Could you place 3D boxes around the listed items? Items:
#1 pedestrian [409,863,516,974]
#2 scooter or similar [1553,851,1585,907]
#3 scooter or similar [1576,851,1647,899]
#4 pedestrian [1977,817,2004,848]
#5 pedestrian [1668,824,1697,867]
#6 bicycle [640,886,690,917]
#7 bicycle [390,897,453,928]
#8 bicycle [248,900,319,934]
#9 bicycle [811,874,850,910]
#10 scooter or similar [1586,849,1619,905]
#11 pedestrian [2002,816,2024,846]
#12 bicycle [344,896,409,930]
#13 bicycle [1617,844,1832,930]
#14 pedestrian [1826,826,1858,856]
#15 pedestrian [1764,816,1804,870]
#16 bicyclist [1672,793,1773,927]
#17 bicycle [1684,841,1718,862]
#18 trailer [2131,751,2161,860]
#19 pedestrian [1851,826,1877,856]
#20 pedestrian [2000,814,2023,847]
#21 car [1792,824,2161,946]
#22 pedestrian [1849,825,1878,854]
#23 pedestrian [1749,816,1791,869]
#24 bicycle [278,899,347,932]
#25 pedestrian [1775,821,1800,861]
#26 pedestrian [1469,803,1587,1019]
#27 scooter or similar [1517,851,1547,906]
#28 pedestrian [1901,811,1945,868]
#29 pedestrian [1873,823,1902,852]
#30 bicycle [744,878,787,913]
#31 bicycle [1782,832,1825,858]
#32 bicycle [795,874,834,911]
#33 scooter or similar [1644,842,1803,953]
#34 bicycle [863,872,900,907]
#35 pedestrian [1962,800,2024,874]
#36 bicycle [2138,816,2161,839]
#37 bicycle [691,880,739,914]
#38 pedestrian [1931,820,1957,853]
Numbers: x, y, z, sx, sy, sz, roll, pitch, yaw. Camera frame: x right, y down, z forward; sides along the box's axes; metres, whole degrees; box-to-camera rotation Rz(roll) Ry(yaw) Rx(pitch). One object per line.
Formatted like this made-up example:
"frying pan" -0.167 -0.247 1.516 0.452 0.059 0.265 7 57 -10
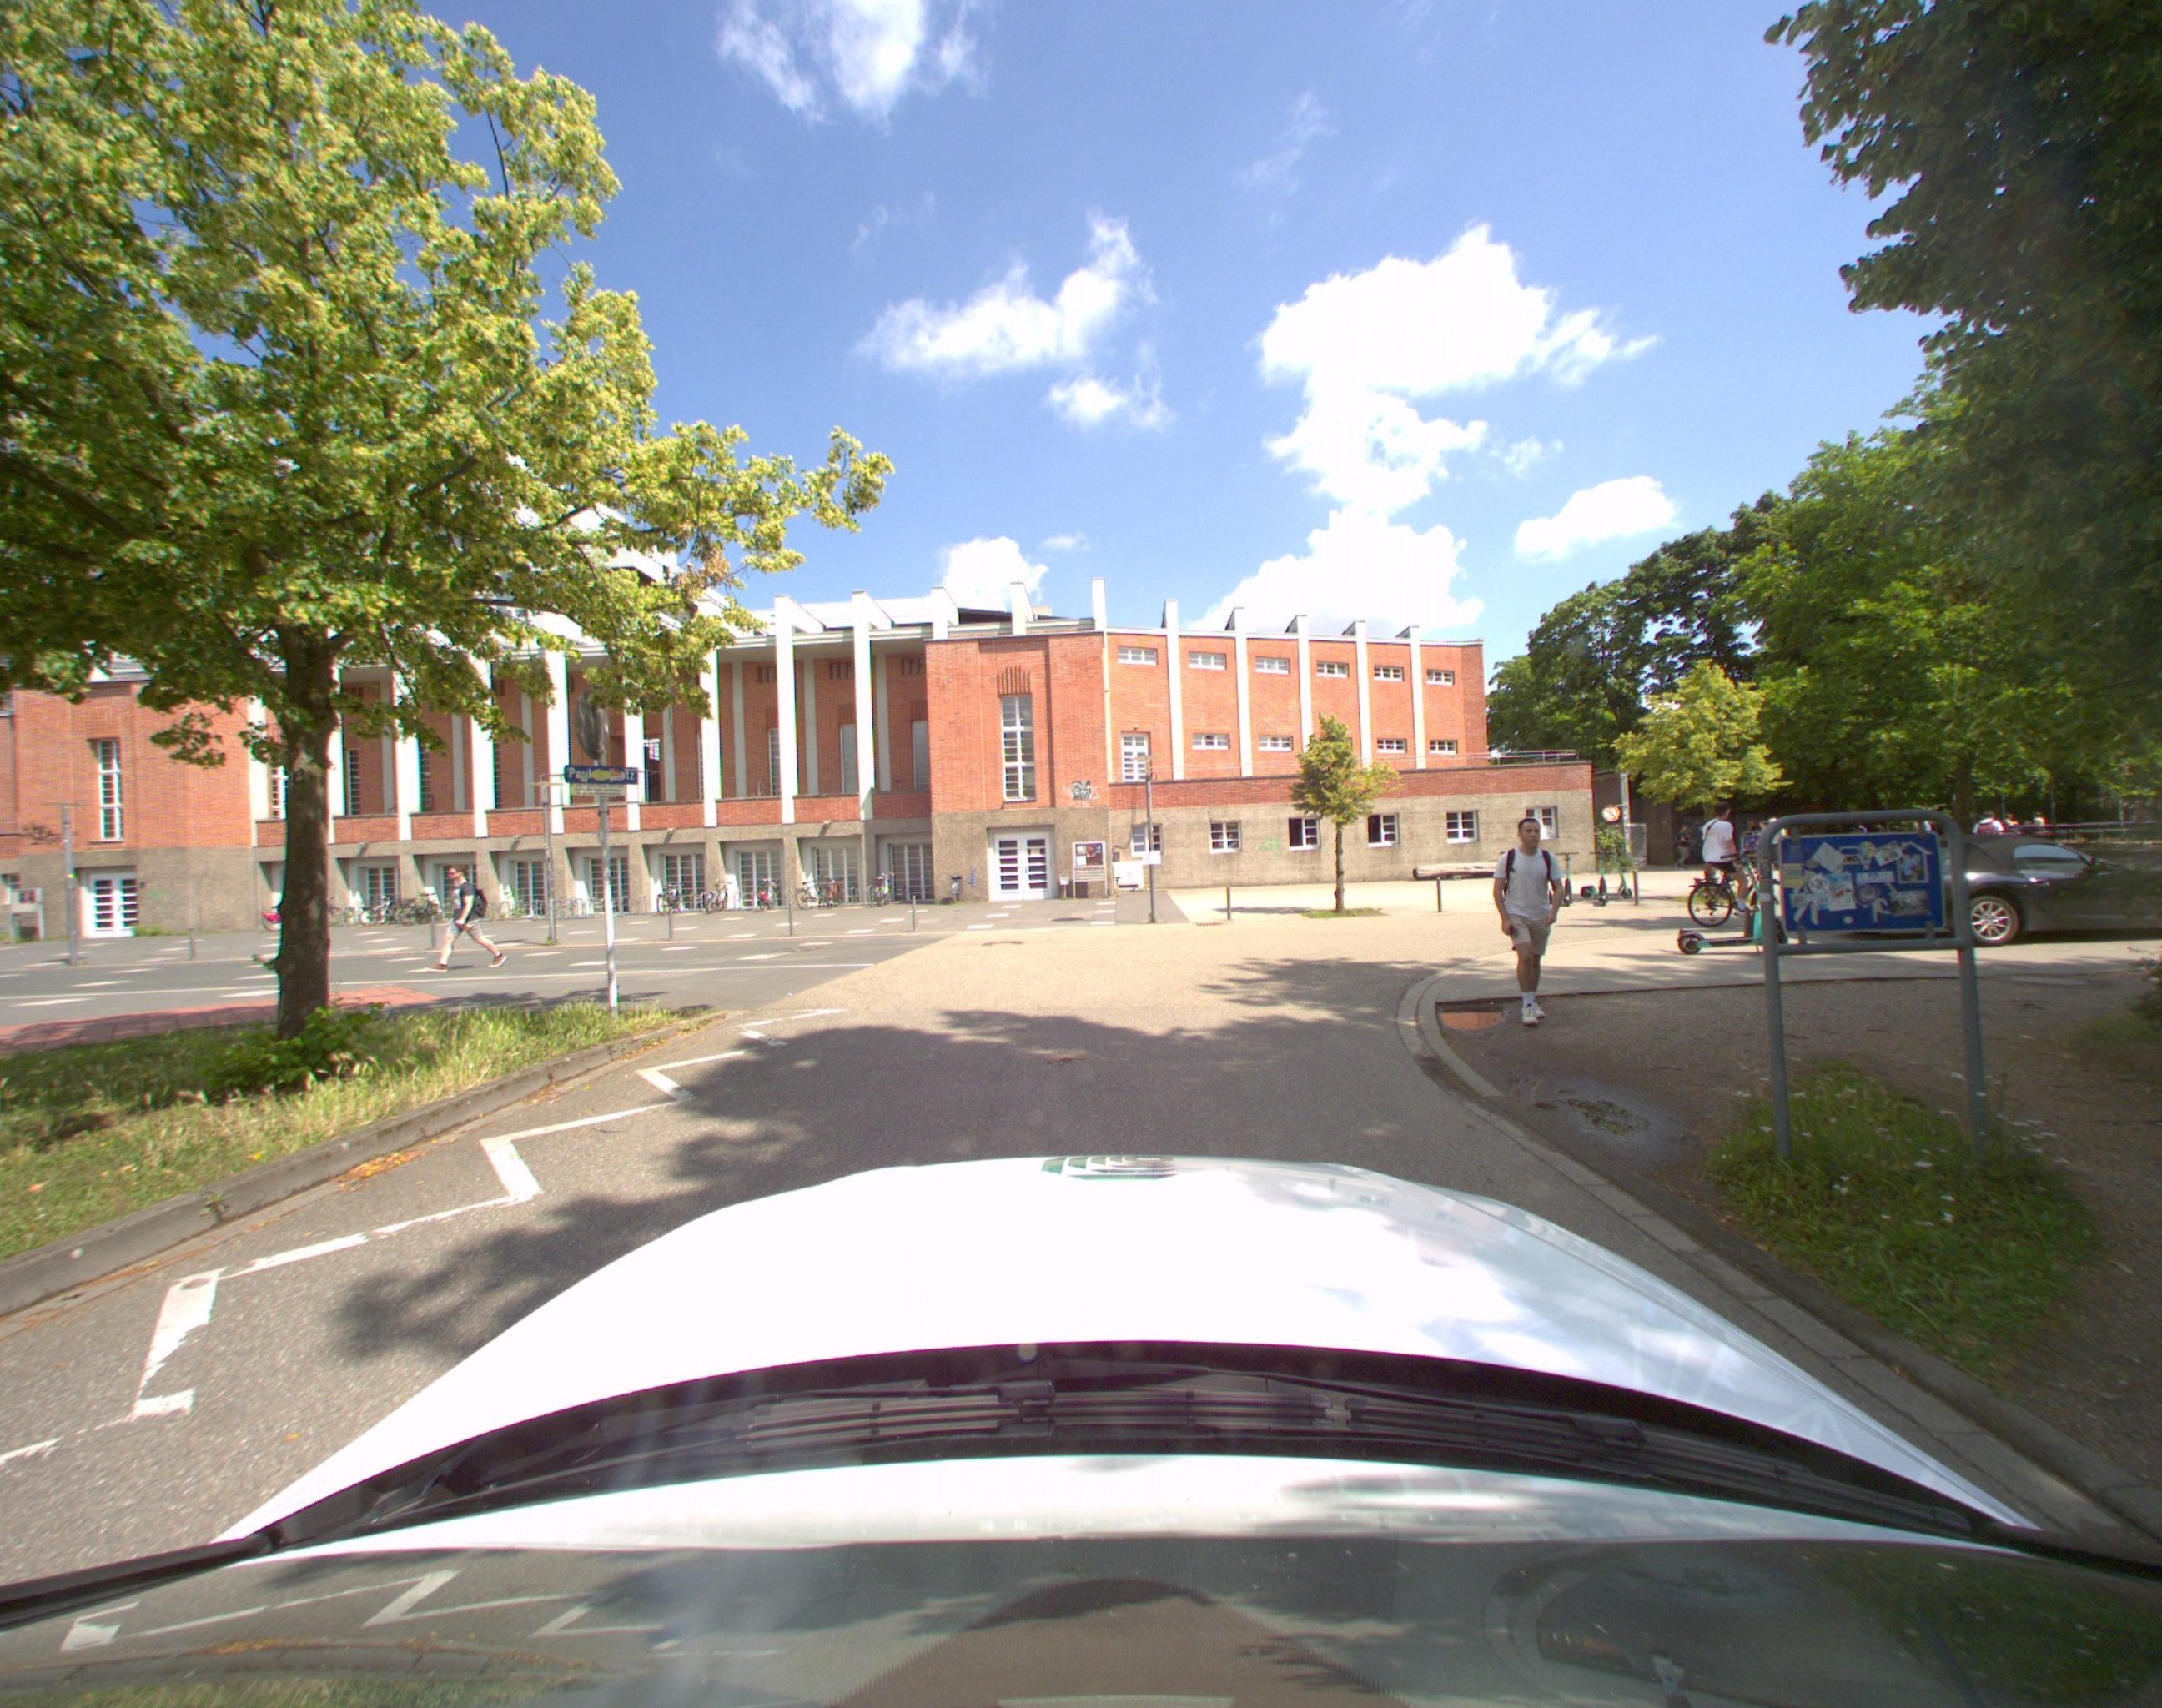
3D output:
"pedestrian" -10.630 1.083 14.015 1.008 1.800 1.179 -5 -3 33
"scooter or similar" 11.389 0.571 19.046 0.558 1.225 1.585 -2 0 29
"scooter or similar" 13.182 0.515 20.273 1.335 1.149 0.567 -2 0 14
"pedestrian" 37.930 -0.881 33.958 0.745 1.233 0.589 -5 1 -32
"pedestrian" 24.236 -0.331 32.842 0.869 1.720 0.492 -1 -1 30
"bicycle" -14.599 1.651 28.658 0.680 0.960 1.957 -2 0 2
"bicycle" -23.648 2.077 29.240 0.565 0.940 1.957 -2 0 2
"bicycle" -28.500 2.229 29.140 0.538 1.030 1.957 -2 0 2
"bicycle" -8.720 1.300 28.432 0.588 1.125 2.030 -2 0 4
"scooter or similar" 12.014 0.517 18.794 0.517 1.225 1.585 -2 0 29
"pedestrian" 44.153 -1.093 38.578 0.458 1.422 0.505 -2 0 -8
"bicycle" -25.113 2.081 29.073 0.526 1.030 1.957 -2 0 2
"bicycle" 10.112 0.494 12.861 2.733 1.199 0.884 -2 0 -2
"pedestrian" 34.926 -0.578 37.375 0.772 1.323 0.690 -2 -1 4
"pedestrian" 23.769 -0.376 27.536 0.800 1.762 0.565 -2 0 1
"bicyclist" 10.095 0.092 12.850 0.844 2.013 0.876 -2 0 -2
"bicycle" 27.875 -0.117 36.619 1.222 0.883 0.305 -2 0 4
"trailer" 32.893 -1.452 21.666 6.221 3.026 2.707 -2 1 2
"pedestrian" 35.934 -0.583 37.381 0.555 1.323 0.647 -2 -1 4
"pedestrian" 44.152 -1.126 38.656 0.472 1.522 0.505 -2 0 -8
"car" 11.717 0.347 10.227 3.970 1.280 1.715 -2 0 3
"pedestrian" 34.884 -0.648 36.316 0.688 1.271 0.562 -2 0 3
"pedestrian" 23.756 -0.399 28.090 0.911 1.779 0.578 -2 0 1
"bicycle" -27.505 2.176 29.183 0.515 1.030 1.957 -2 0 2
"pedestrian" 29.595 -0.546 34.122 0.505 1.650 0.671 -4 1 -37
"pedestrian" 3.805 0.470 6.975 0.637 1.745 0.583 -2 0 4
"scooter or similar" 10.718 0.570 19.358 0.563 1.225 1.585 -2 0 29
"pedestrian" 27.215 -0.454 26.326 0.869 1.820 0.452 -1 -1 30
"pedestrian" 35.842 -0.723 36.200 0.688 1.271 0.562 -2 0 3
"bicycle" -11.008 1.423 28.452 0.617 1.082 2.017 -2 0 2
"bicycle" 30.905 -0.376 34.858 0.419 1.077 1.334 0 -1 -41
"bicycle" -9.345 1.336 28.633 0.435 1.125 2.032 -2 1 7
"scooter or similar" 7.665 0.514 9.765 1.369 1.254 0.556 -2 0 10
"bicycle" -6.914 1.209 28.286 0.662 1.125 2.029 -2 0 2
"pedestrian" 23.818 -0.444 21.273 0.880 1.835 0.846 -4 1 -28
"bicycle" 47.975 -1.205 35.670 0.582 1.008 2.010 -2 -1 -6
"bicycle" -12.800 1.501 28.563 0.658 1.061 2.029 -2 0 2
"pedestrian" 36.727 -0.746 34.661 0.706 1.369 0.589 -5 1 -32
